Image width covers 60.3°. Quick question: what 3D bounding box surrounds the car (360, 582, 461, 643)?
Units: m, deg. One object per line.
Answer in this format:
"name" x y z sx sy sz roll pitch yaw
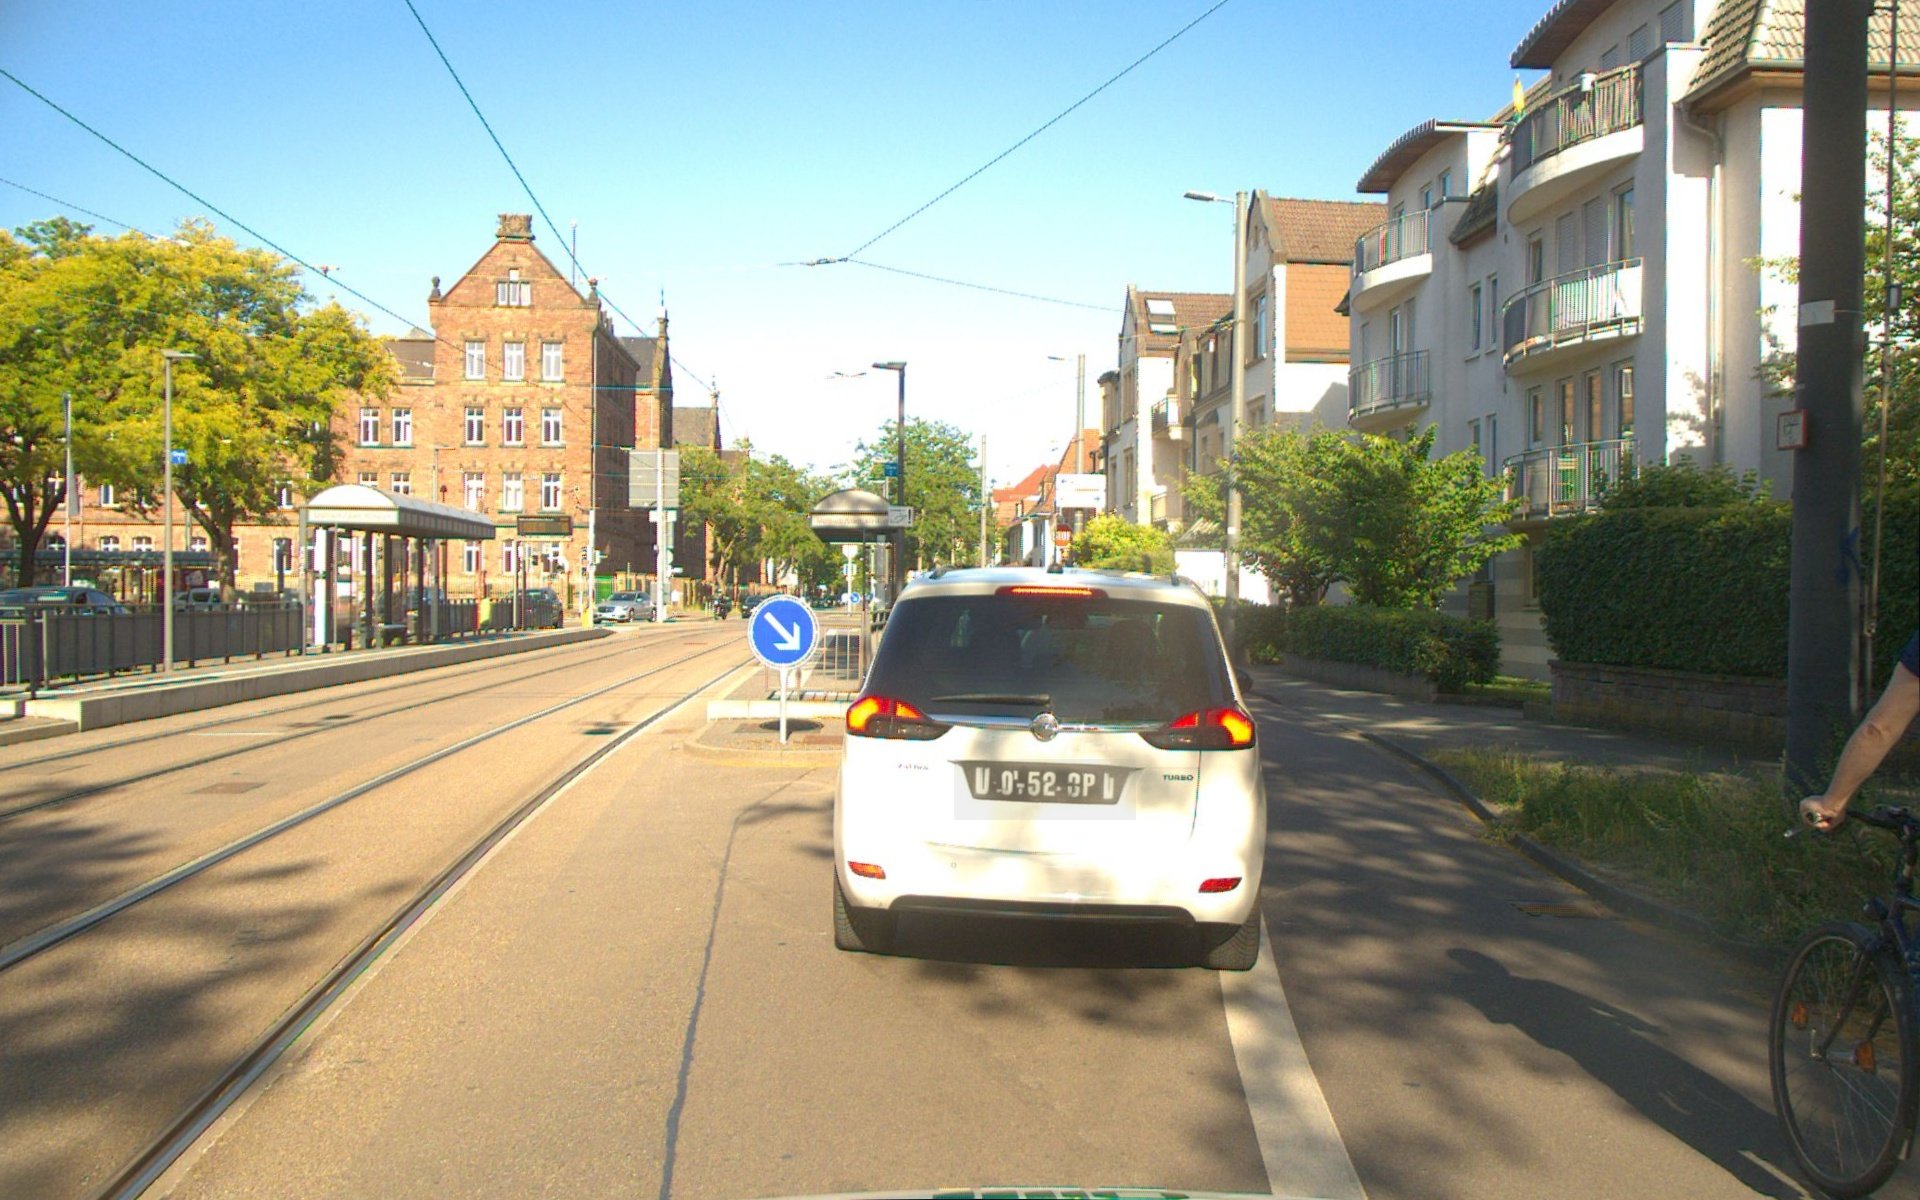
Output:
"car" -15.664 0.364 47.339 1.791 1.645 4.322 1 -1 -6

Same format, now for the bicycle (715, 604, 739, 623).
"bicycle" -12.603 0.740 89.521 0.710 0.982 2.062 1 1 10

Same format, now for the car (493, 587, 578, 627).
"car" -16.318 0.286 63.749 1.788 1.471 4.330 1 -1 5

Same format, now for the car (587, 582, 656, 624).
"car" -15.221 0.147 74.594 1.788 1.819 4.330 1 -1 7

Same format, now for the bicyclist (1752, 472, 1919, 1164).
"bicyclist" 2.419 0.479 3.809 0.631 1.514 1.114 1 0 -1

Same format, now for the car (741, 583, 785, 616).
"car" -12.576 -0.041 105.792 1.951 2.049 4.002 1 0 6

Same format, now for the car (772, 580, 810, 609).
"car" -12.292 -0.409 120.625 1.951 2.049 4.002 1 0 6

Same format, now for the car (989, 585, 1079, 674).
"car" 1.470 0.559 34.104 1.563 1.663 3.900 2 0 -1

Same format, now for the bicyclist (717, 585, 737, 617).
"bicyclist" -12.602 0.068 89.515 0.710 1.717 1.170 1 1 10

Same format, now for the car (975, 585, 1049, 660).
"car" 1.225 0.497 40.359 1.563 1.663 3.901 2 1 -1

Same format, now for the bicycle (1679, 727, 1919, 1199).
"bicycle" 2.404 0.956 3.821 0.629 1.163 1.901 0 0 -1

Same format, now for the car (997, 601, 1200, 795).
"car" 1.233 0.764 14.796 1.536 1.426 3.786 2 0 5

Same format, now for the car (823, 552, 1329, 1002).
"car" 0.582 0.634 8.088 1.838 1.613 4.002 1 0 5

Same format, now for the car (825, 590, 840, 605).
"car" -18.276 -0.350 237.164 1.955 2.049 3.994 1 0 -6

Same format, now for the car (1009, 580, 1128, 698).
"car" 1.602 0.544 25.515 1.537 1.643 3.784 2 0 0

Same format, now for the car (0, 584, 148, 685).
"car" -14.272 0.484 25.509 1.764 1.406 4.487 -2 1 -8
